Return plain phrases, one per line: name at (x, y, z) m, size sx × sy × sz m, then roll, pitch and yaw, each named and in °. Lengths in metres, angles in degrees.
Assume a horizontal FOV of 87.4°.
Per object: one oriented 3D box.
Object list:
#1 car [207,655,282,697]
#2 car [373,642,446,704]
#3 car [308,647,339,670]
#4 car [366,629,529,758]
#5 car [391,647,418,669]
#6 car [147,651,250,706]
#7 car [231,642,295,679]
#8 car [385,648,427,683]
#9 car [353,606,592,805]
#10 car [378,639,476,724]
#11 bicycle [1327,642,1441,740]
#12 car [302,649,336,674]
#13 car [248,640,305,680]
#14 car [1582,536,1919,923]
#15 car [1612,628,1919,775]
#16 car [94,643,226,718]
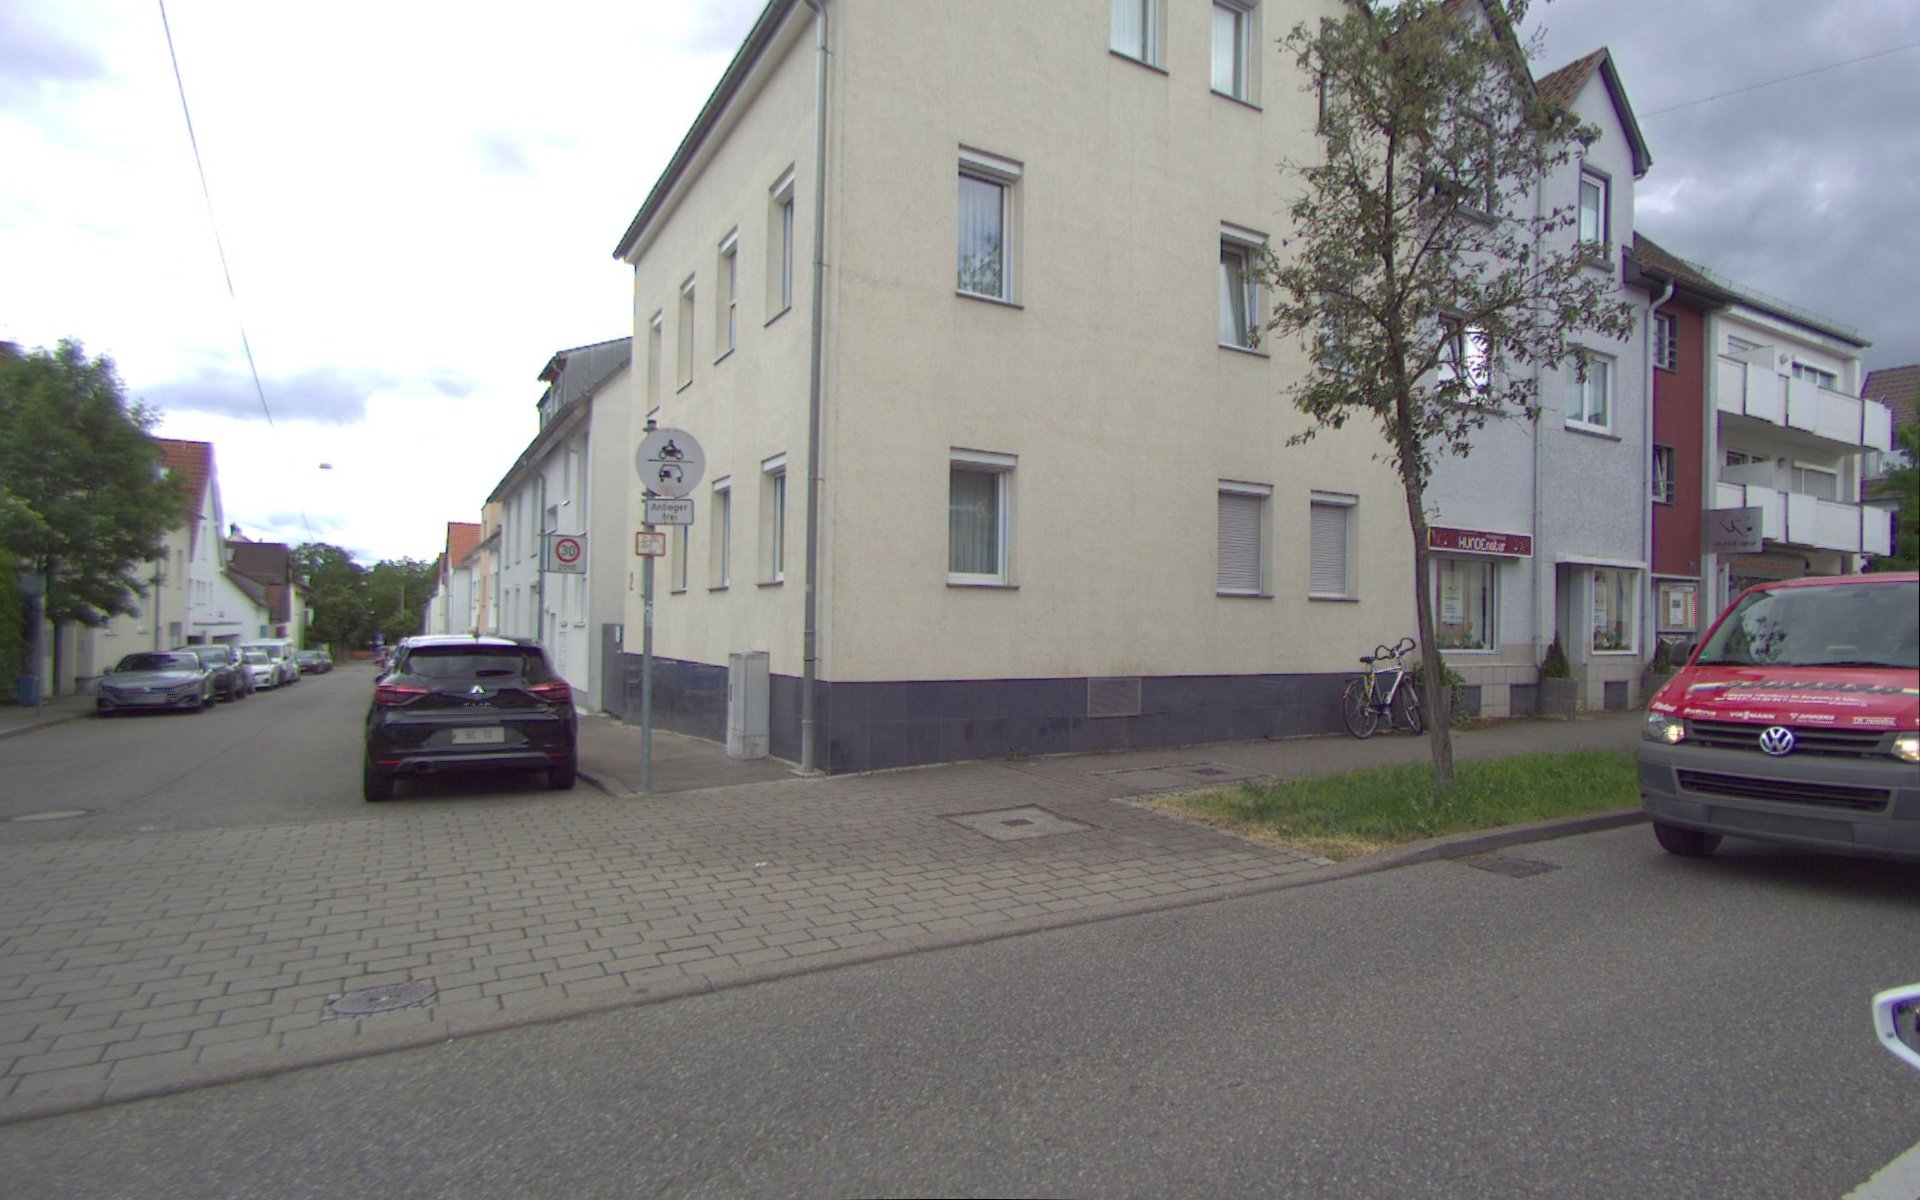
car at (-25.689, 2.710, 36.161) m, size 1.789 × 1.435 × 3.686 m, roll 1°, pitch -4°, yaw -29°
car at (-15.422, 2.020, 28.130) m, size 1.650 × 1.597 × 3.686 m, roll 1°, pitch -4°, yaw -29°
car at (-44.597, 4.110, 70.441) m, size 1.650 × 1.597 × 3.686 m, roll 1°, pitch -4°, yaw -29°
car at (-7.105, 1.228, 13.746) m, size 1.652 × 1.505 × 3.682 m, roll 1°, pitch -4°, yaw -32°
car at (-40.452, 4.229, 73.175) m, size 1.650 × 1.597 × 3.686 m, roll 1°, pitch -4°, yaw -29°
car at (-21.416, 2.189, 28.393) m, size 1.789 × 1.435 × 3.686 m, roll 1°, pitch -4°, yaw -29°
car at (-28.432, 2.463, 41.058) m, size 1.789 × 1.435 × 3.686 m, roll 1°, pitch -4°, yaw -29°
car at (-26.680, 3.156, 48.365) m, size 1.698 × 1.597 × 3.686 m, roll 1°, pitch -4°, yaw -29°
car at (-5.018, 0.958, 10.053) m, size 1.716 × 1.554 × 3.966 m, roll 1°, pitch -4°, yaw -32°
car at (-11.175, 1.665, 20.998) m, size 1.650 × 1.597 × 3.686 m, roll 1°, pitch -4°, yaw -29°
bicycle at (5.487, 1.143, 12.963) m, size 1.648 × 1.169 × 0.511 m, roll 2°, pitch 0°, yaw -33°
car at (-41.781, 4.025, 65.517) m, size 1.650 × 1.597 × 3.686 m, roll 1°, pitch -4°, yaw -29°
car at (-31.223, 2.740, 45.978) m, size 1.789 × 1.744 × 3.686 m, roll 1°, pitch -4°, yaw -29°
car at (6.841, 0.763, 7.087) m, size 5.161 × 1.987 × 1.940 m, roll 2°, pitch -3°, yaw -30°
car at (10.171, 1.137, 12.210) m, size 4.462 × 1.486 × 1.940 m, roll 2°, pitch -4°, yaw -30°
car at (-18.418, 1.827, 23.301) m, size 1.789 × 1.597 × 3.686 m, roll 1°, pitch -4°, yaw -29°
